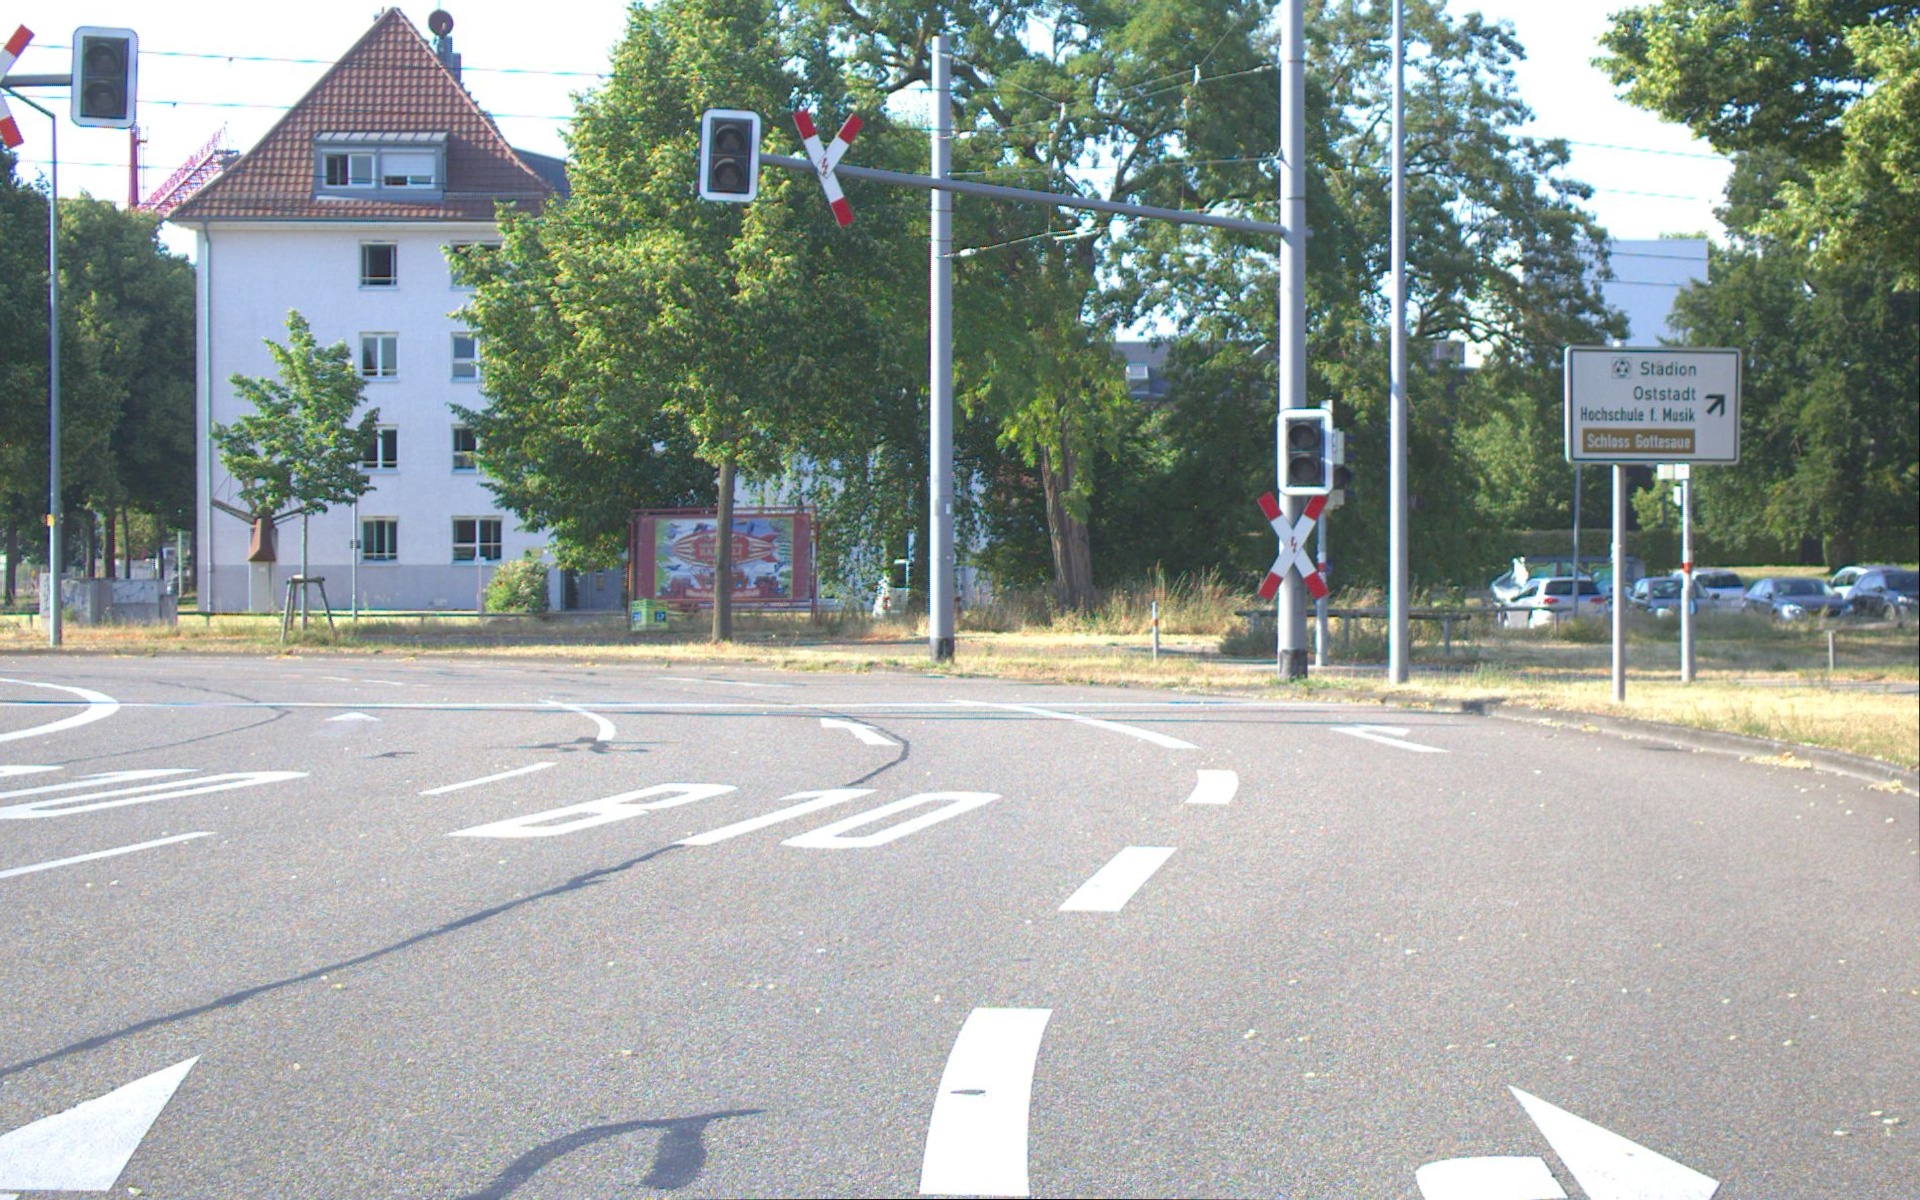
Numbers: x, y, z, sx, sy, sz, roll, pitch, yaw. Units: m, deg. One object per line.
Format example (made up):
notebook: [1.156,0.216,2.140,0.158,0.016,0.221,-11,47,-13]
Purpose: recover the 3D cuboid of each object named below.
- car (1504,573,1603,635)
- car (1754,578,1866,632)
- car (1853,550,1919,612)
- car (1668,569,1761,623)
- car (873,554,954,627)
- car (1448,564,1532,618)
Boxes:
car: [13.692,0.085,79.430,1.601,1.397,3.969,0,0,0]
car: [19.650,0.114,79.575,1.601,1.216,3.969,0,0,0]
car: [21.943,-0.430,79.365,1.601,1.397,3.969,0,0,0]
car: [19.957,-0.121,91.080,1.601,1.397,3.969,0,0,0]
car: [-1.025,-0.217,77.724,1.771,1.612,3.969,0,0,0]
car: [14.093,-0.241,91.587,1.601,1.397,3.969,0,0,0]
